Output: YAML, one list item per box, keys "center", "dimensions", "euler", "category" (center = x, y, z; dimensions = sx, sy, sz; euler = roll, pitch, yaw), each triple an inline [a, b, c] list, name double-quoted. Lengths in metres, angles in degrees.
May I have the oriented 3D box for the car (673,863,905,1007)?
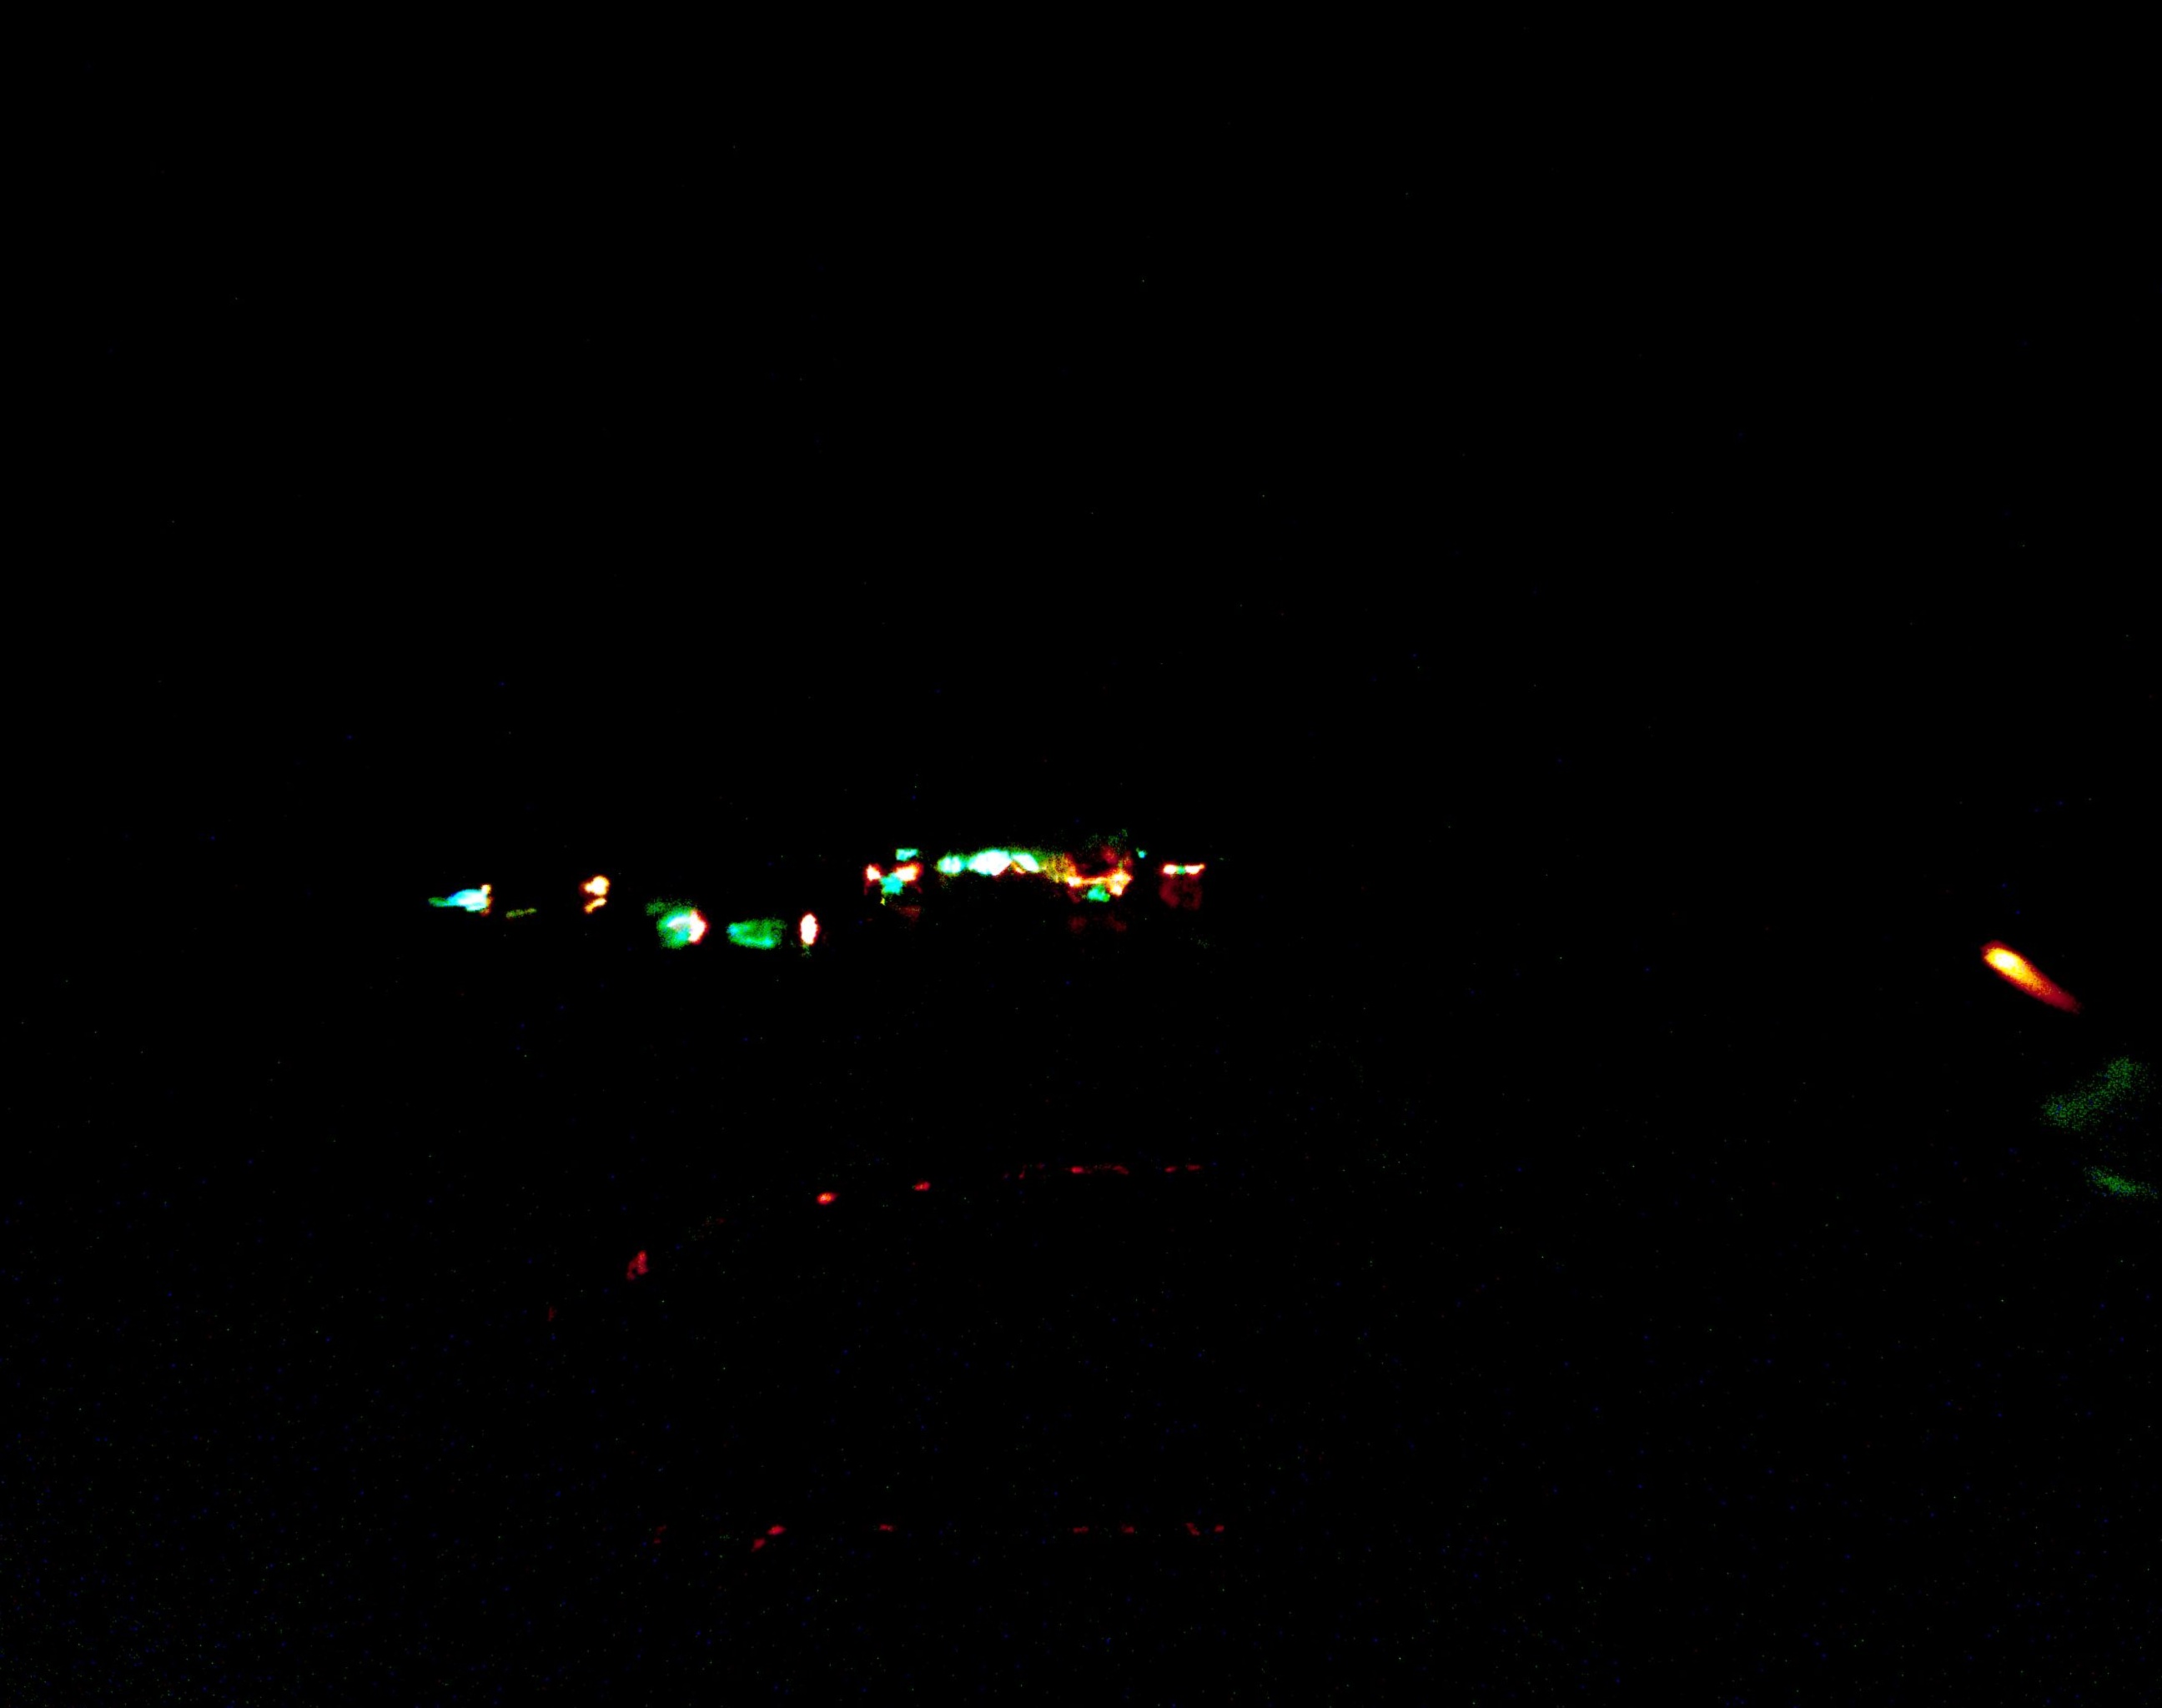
- center: [-3.538, 0.872, 10.723]
  dimensions: [1.652, 1.431, 4.242]
  euler: [-1, 0, -2]
  category: "car"

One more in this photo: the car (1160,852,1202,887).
- center: [5.273, 0.824, 43.425]
  dimensions: [1.870, 1.762, 4.002]
  euler: [0, -1, 2]
  category: "car"

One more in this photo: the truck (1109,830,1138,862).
- center: [7.159, -1.314, 139.354]
  dimensions: [4.150, 5.215, 9.948]
  euler: [0, -1, -1]
  category: "truck"

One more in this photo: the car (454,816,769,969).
- center: [-7.668, 0.554, 14.240]
  dimensions: [2.115, 2.104, 5.630]
  euler: [-1, 0, 1]
  category: "car"

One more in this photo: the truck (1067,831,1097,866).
- center: [0.242, -0.782, 133.661]
  dimensions: [4.236, 5.444, 10.892]
  euler: [0, -1, 3]
  category: "truck"

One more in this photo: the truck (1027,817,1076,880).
- center: [-2.424, -0.370, 65.909]
  dimensions: [3.647, 4.737, 9.842]
  euler: [0, -1, -3]
  category: "truck"

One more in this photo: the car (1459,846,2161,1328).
- center: [3.992, 0.708, 4.604]
  dimensions: [1.764, 1.457, 4.194]
  euler: [-1, 0, 0]
  category: "car"

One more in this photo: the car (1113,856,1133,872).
- center: [4.510, 1.104, 87.779]
  dimensions: [1.986, 1.704, 4.460]
  euler: [0, -1, 2]
  category: "car"

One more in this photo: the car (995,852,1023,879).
- center: [-6.273, 1.010, 71.152]
  dimensions: [2.260, 2.273, 5.376]
  euler: [0, -1, -5]
  category: "car"

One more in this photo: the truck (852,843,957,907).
- center: [-6.565, 0.759, 31.204]
  dimensions: [2.849, 2.201, 5.855]
  euler: [0, -1, -1]
  category: "truck"

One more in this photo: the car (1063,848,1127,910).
- center: [0.481, 0.692, 24.817]
  dimensions: [1.759, 1.689, 4.002]
  euler: [-1, 0, 2]
  category: "car"

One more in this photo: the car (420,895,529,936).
- center: [-26.896, 2.699, 36.311]
  dimensions: [1.794, 1.573, 4.001]
  euler: [0, -1, 1]
  category: "car"
